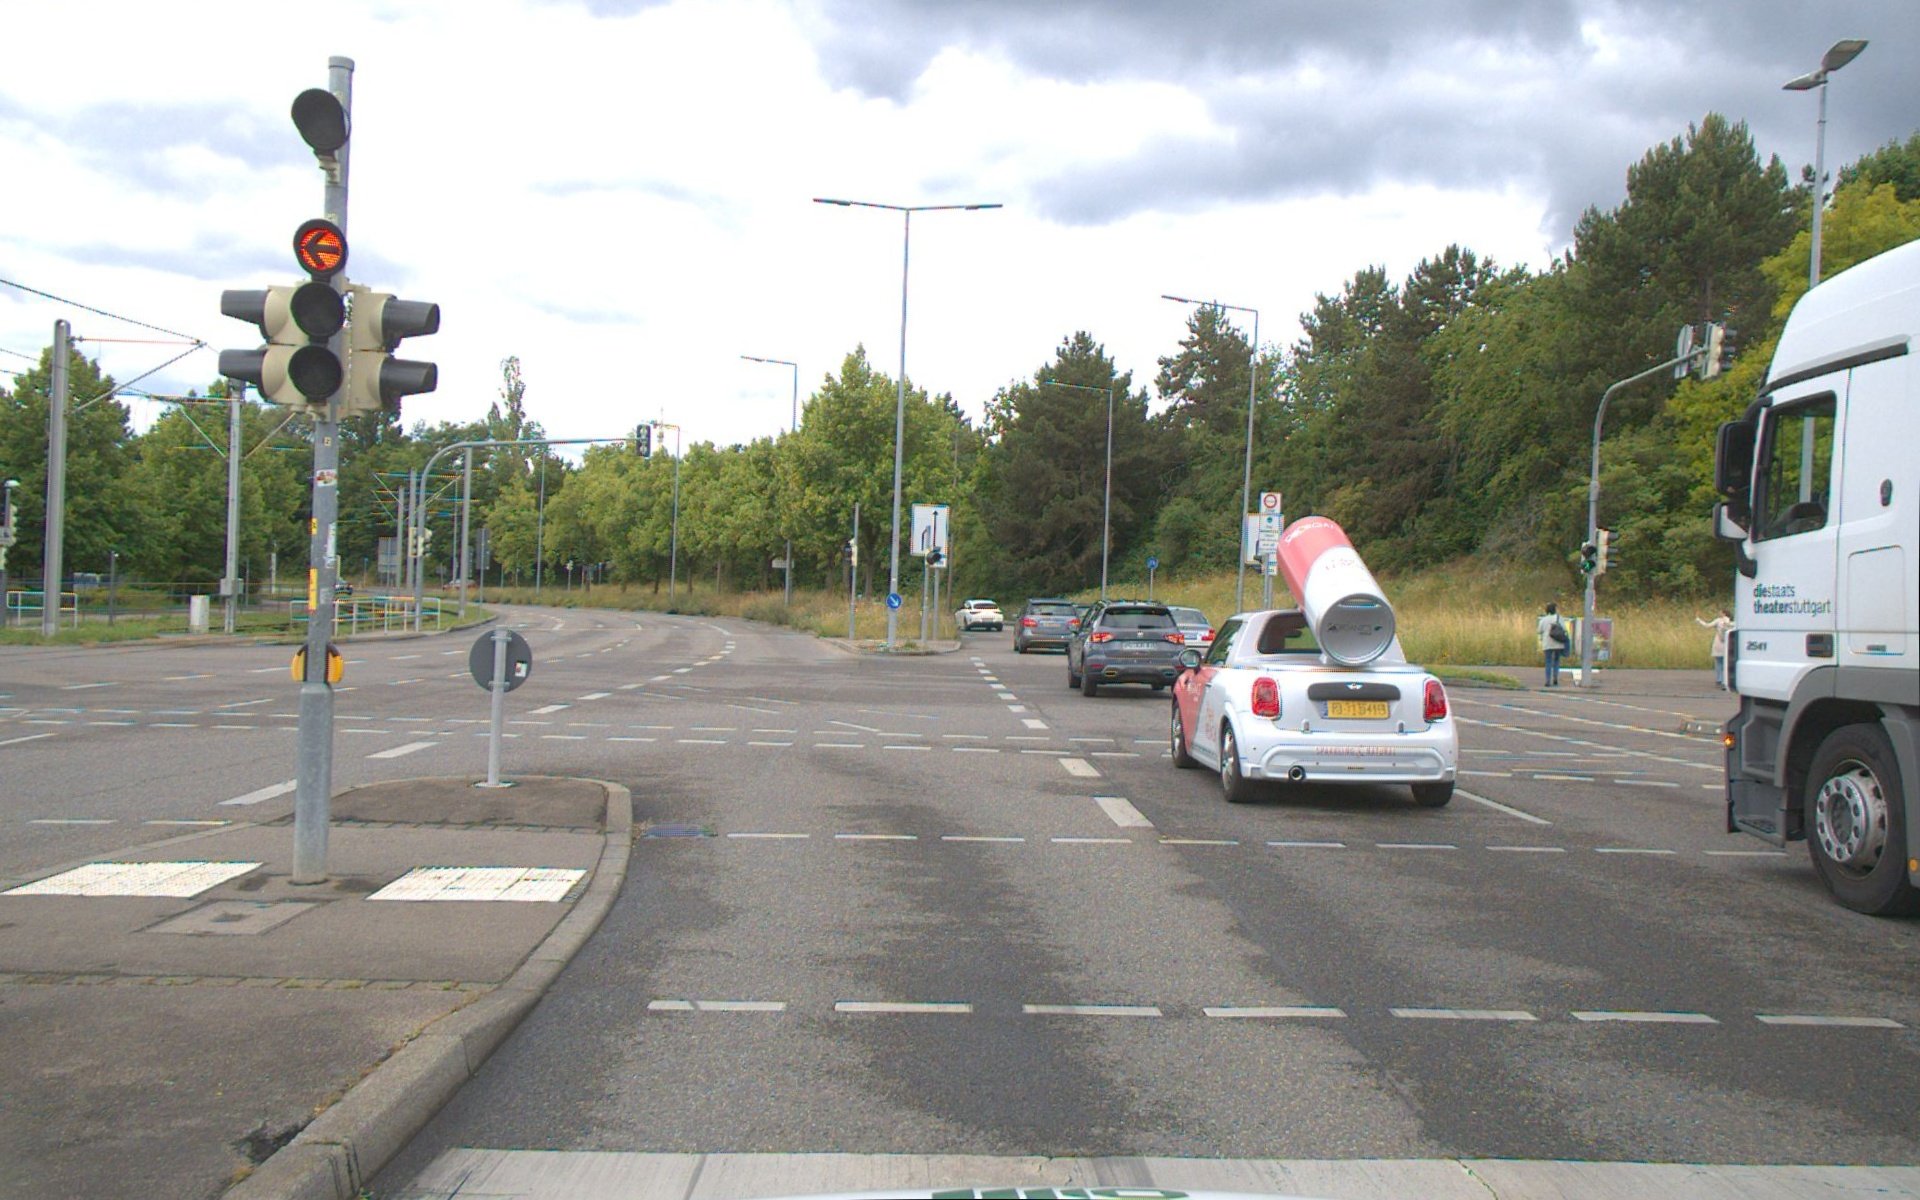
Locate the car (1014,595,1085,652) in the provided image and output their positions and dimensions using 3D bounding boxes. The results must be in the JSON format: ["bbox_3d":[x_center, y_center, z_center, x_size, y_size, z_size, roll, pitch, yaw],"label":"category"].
[{"bbox_3d":[2.513,0.637,47.310,1.711,1.534,4.047,1,0,-1],"label":"car"}]

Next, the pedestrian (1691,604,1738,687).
[{"bbox_3d":[15.089,0.905,33.089,0.630,1.640,0.714,1,-1,5],"label":"pedestrian"}]

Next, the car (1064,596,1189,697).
[{"bbox_3d":[2.722,0.723,27.713,1.591,1.519,3.836,1,0,-2],"label":"car"}]

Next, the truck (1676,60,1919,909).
[{"bbox_3d":[5.880,-0.501,5.138,2.746,3.971,10.180,1,1,-1],"label":"truck"}]

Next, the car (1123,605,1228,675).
[{"bbox_3d":[4.791,0.858,37.274,1.711,1.407,4.290,1,0,-1],"label":"car"}]

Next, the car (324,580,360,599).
[{"bbox_3d":[-55.804,-0.959,149.307,1.785,1.615,3.940,1,-1,-41],"label":"car"}]

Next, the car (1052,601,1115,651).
[{"bbox_3d":[4.100,0.844,55.540,1.711,1.511,4.355,1,1,-1],"label":"car"}]

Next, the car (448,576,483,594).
[{"bbox_3d":[-47.200,-1.400,157.931,1.774,1.631,3.828,1,-1,-41],"label":"car"}]

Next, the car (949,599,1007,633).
[{"bbox_3d":[0.826,0.755,78.612,1.812,1.533,4.517,1,0,-12],"label":"car"}]

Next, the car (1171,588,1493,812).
[{"bbox_3d":[2.849,0.695,13.415,1.784,1.532,3.494,1,1,0],"label":"car"}]

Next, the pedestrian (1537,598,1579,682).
[{"bbox_3d":[12.223,0.818,33.835,0.630,1.691,0.714,1,-1,6],"label":"pedestrian"}]
